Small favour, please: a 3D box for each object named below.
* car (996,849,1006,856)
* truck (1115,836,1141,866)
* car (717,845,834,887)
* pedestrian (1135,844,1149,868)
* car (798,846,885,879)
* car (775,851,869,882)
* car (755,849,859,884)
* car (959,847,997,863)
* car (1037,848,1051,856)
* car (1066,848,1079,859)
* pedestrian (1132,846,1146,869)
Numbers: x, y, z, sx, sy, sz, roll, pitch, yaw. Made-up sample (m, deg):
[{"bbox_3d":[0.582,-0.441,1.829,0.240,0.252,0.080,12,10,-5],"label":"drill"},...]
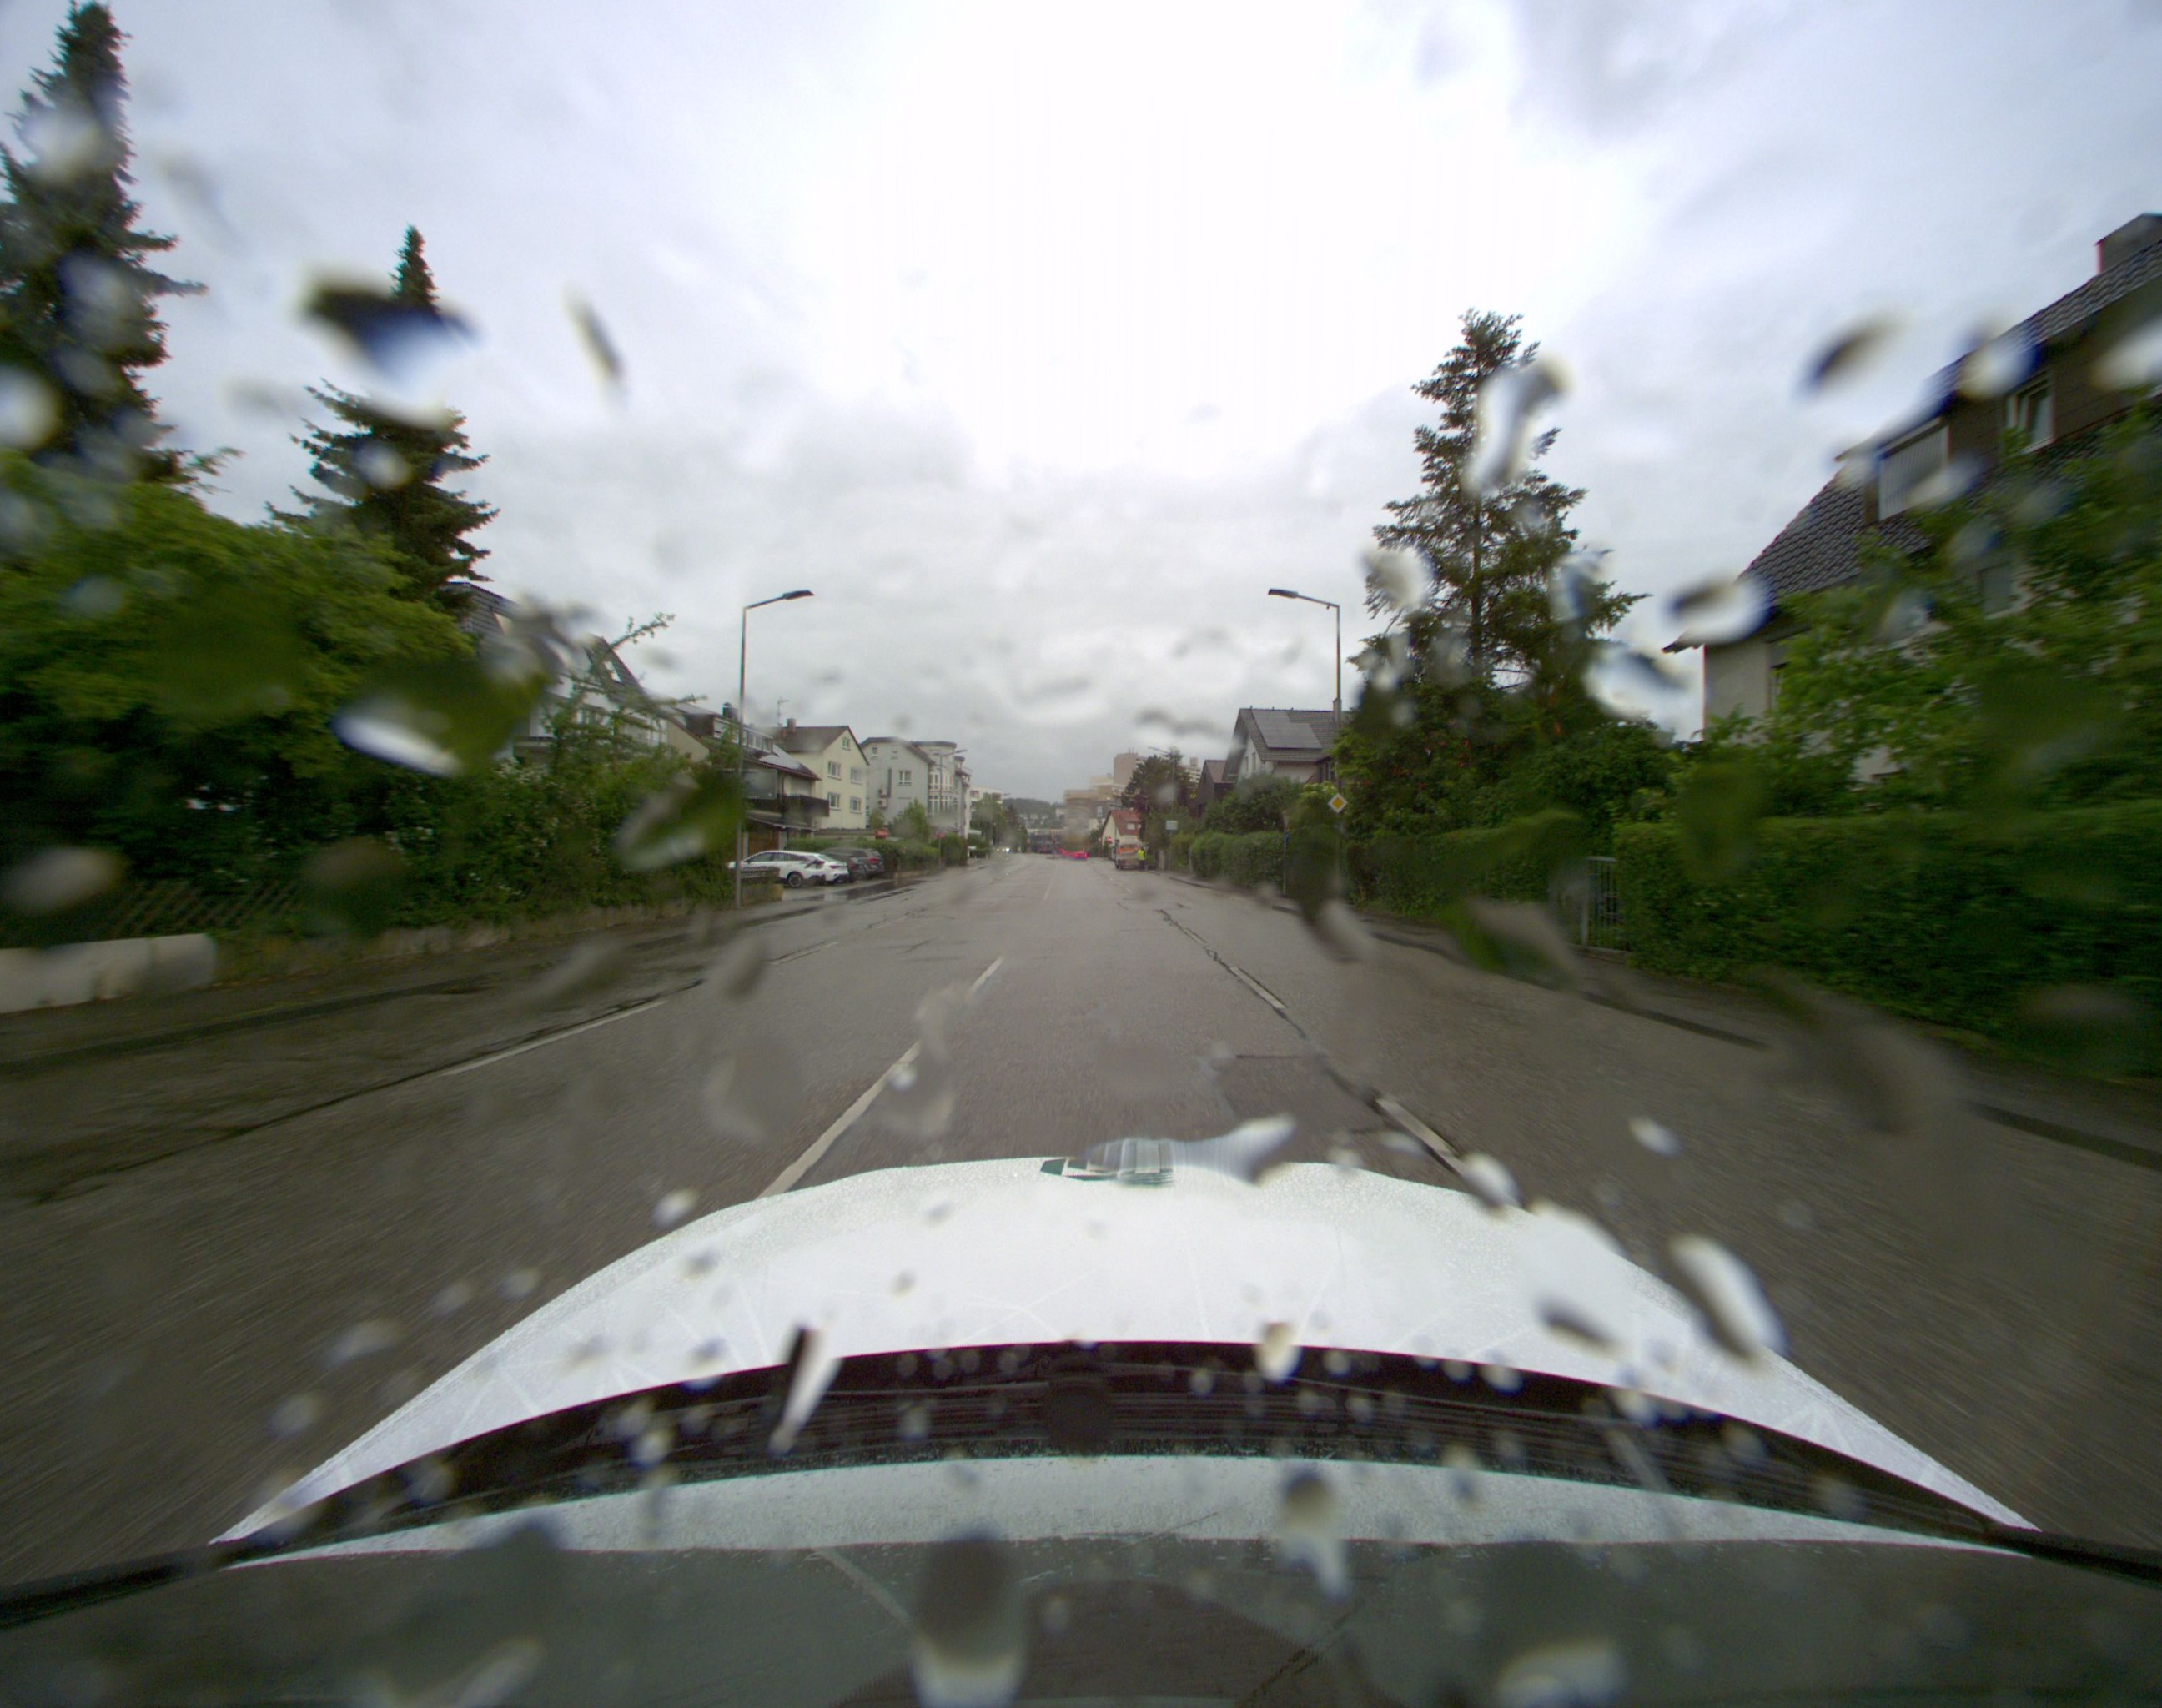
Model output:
[{"bbox_3d":[-17.514,-0.346,177.836,1.654,1.463,3.999,3,-1,0],"label":"car"},{"bbox_3d":[3.759,-0.223,64.963,1.985,2.303,4.003,0,0,3],"label":"truck"},{"bbox_3d":[-12.812,0.484,34.304,4.080,1.585,1.959,2,-1,4],"label":"car"},{"bbox_3d":[4.504,0.168,60.436,0.825,1.797,0.795,0,0,-19],"label":"pedestrian"},{"bbox_3d":[-12.531,0.448,42.785,3.964,1.686,1.813,0,-1,8],"label":"car"},{"bbox_3d":[-12.477,0.587,39.383,3.966,1.446,1.709,0,-1,6],"label":"car"},{"bbox_3d":[-12.396,0.550,37.018,3.968,1.434,1.974,2,0,5],"label":"car"},{"bbox_3d":[-13.805,0.091,109.283,4.491,2.013,2.007,2,0,13],"label":"car"},{"bbox_3d":[-7.770,-0.358,171.106,1.566,1.438,4.019,4,-1,19],"label":"car"},{"bbox_3d":[-1.190,-0.056,120.597,1.788,1.669,4.001,0,0,1],"label":"car"},{"bbox_3d":[4.354,0.242,61.219,0.825,1.726,0.836,0,0,-18],"label":"pedestrian"}]
